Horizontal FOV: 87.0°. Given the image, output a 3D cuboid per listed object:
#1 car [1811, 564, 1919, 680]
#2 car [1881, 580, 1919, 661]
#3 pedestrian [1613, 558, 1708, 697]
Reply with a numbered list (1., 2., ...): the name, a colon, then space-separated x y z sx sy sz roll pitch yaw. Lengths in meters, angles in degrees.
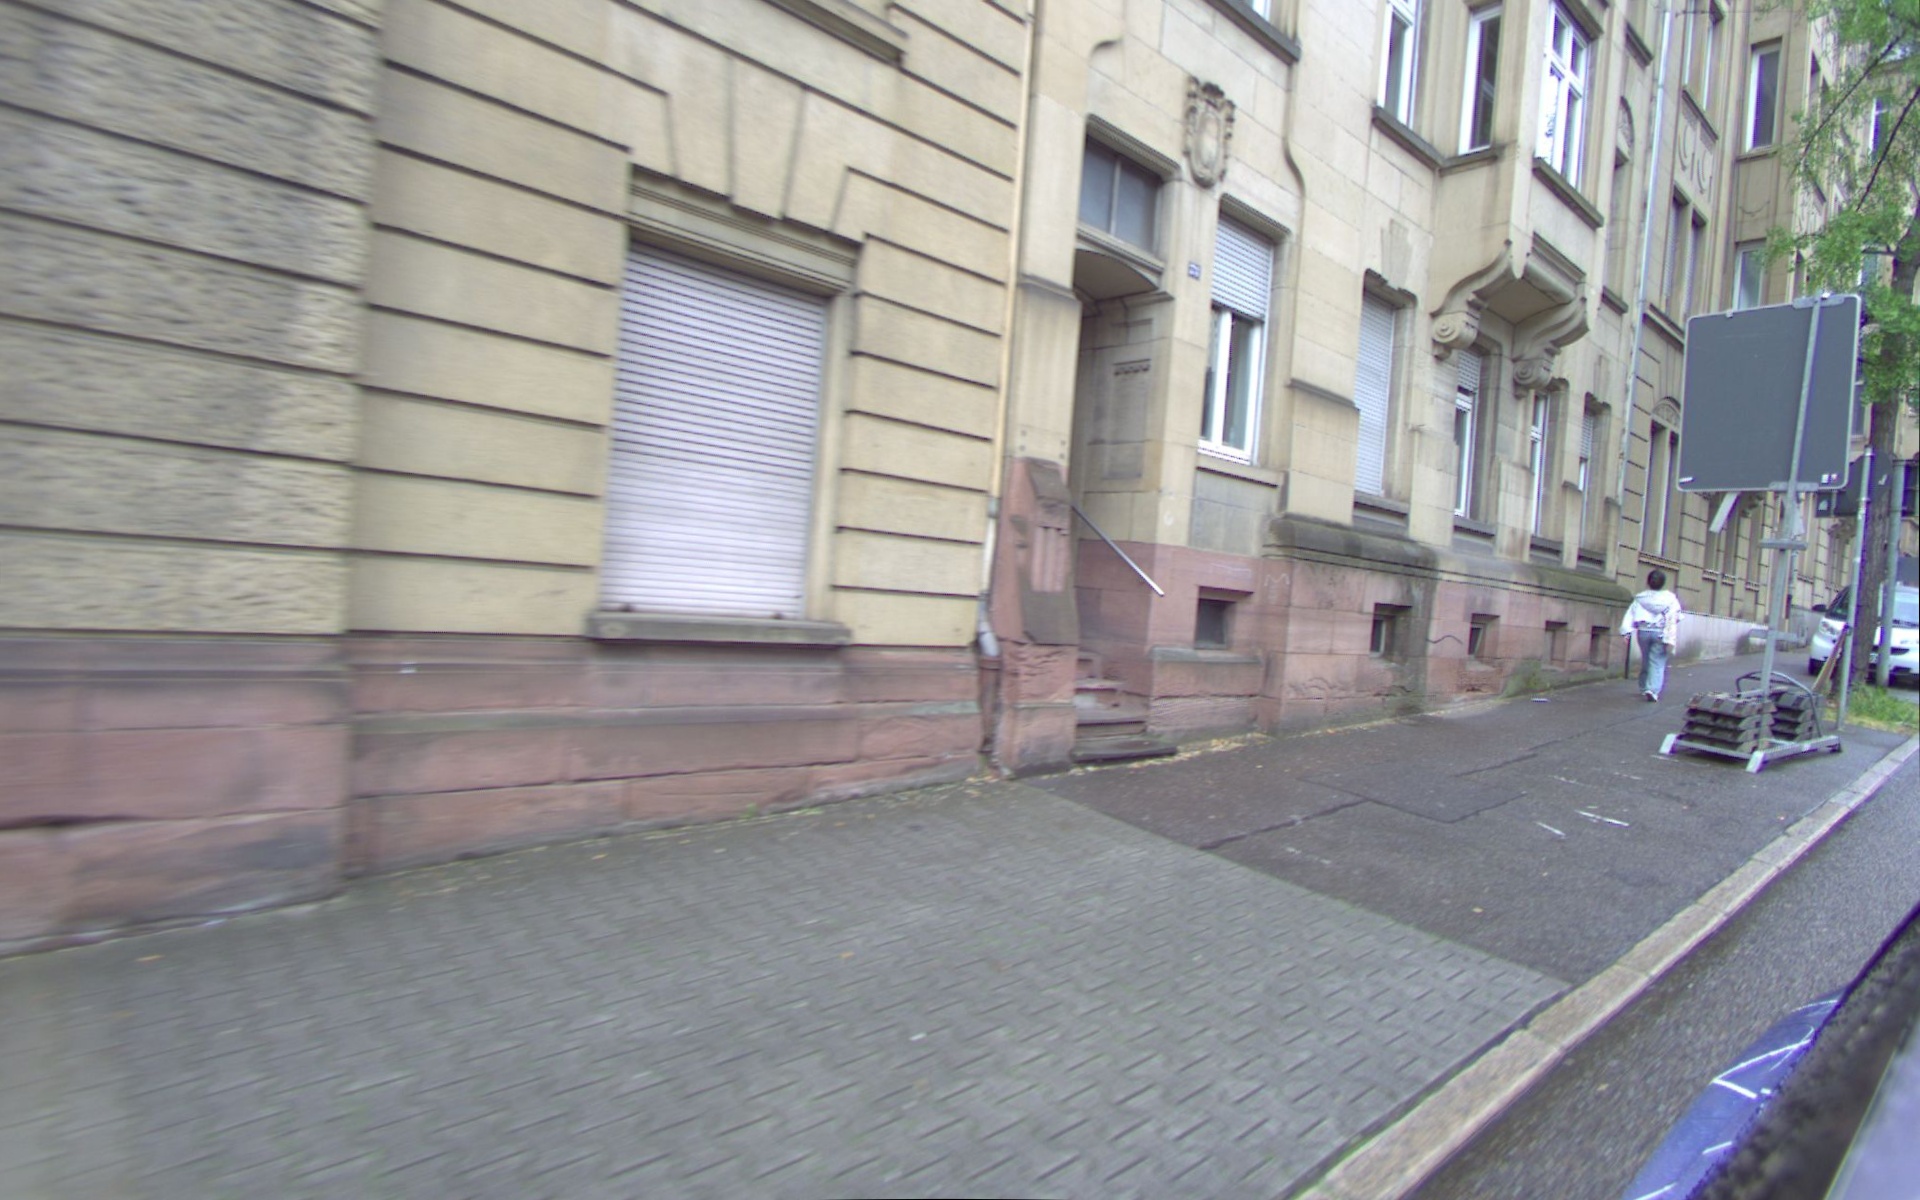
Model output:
1. car: 15.480 0.337 16.710 3.433 1.636 1.526 0 7 -41
2. car: 19.861 0.457 20.266 3.697 1.503 1.547 0 7 -41
3. pedestrian: 8.179 0.294 11.825 0.679 1.513 0.645 -3 8 -41
